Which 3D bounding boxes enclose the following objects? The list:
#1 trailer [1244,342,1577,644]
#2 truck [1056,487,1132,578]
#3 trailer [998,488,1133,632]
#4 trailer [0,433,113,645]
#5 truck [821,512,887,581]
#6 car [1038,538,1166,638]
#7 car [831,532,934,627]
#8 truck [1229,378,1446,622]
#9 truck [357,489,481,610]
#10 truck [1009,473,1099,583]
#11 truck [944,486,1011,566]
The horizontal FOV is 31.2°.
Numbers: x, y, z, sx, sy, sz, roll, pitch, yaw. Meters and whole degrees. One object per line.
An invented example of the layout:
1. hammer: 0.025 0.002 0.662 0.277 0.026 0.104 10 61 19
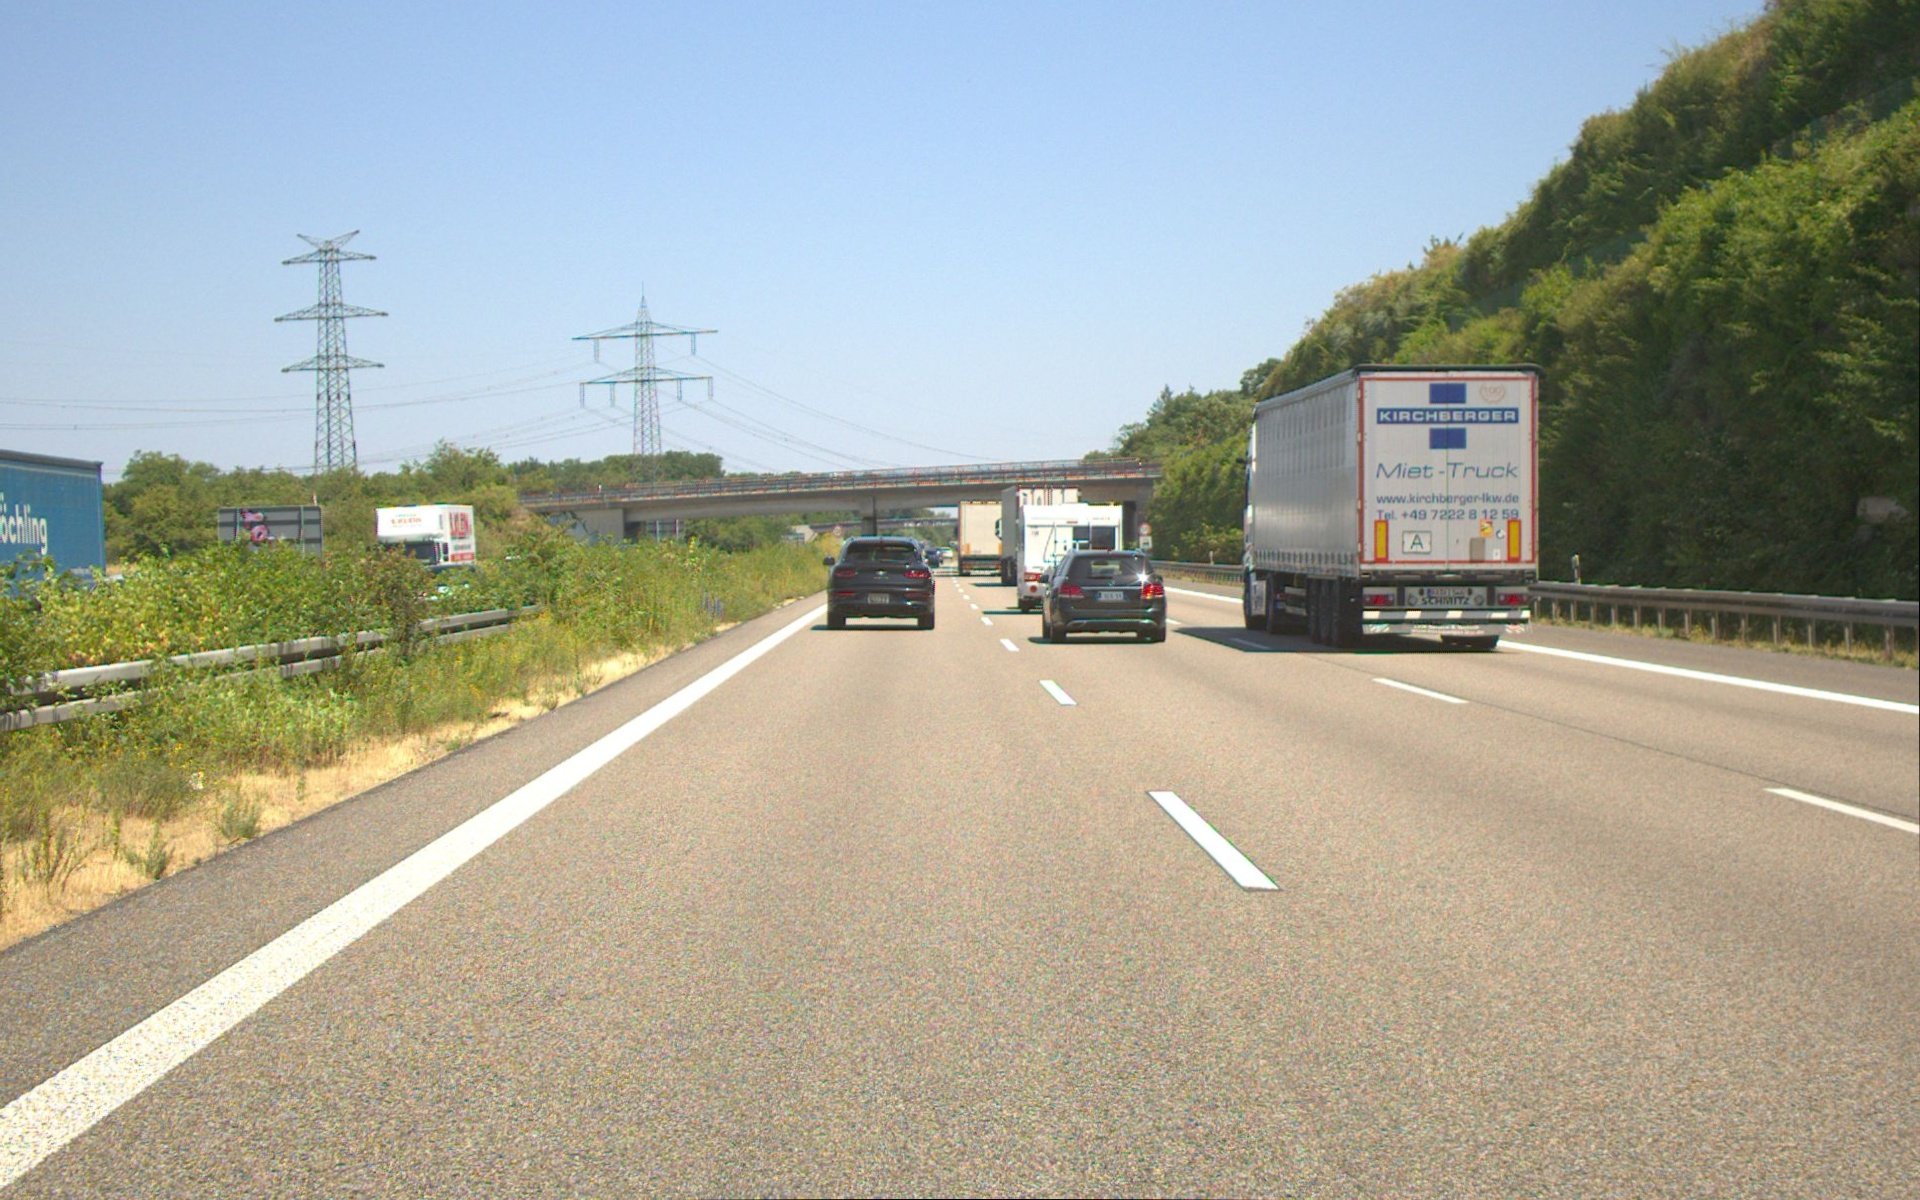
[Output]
1. trailer: 6.822 -1.613 54.499 3.183 4.107 13.432 -2 1 -1
2. truck: 6.539 -3.318 169.093 3.119 4.265 10.168 -1 1 -1
3. trailer: 2.443 -0.997 82.653 2.610 3.202 9.954 -1 1 -2
4. trailer: -19.162 -1.139 65.562 2.693 3.924 13.910 -1 1 -1
5. truck: -6.600 -3.366 214.902 3.961 4.099 9.954 -1 1 -2
6. car: 2.248 -0.225 55.423 1.830 1.520 4.000 -1 1 0
7. car: -1.453 -0.408 64.440 1.830 1.665 4.000 -1 1 -1
8. truck: 6.693 -1.762 61.781 3.135 4.127 5.504 -1 1 -1
9. truck: -19.612 -1.852 125.260 2.873 4.162 10.569 -1 1 -1
10. truck: 3.786 -2.962 141.469 3.119 4.265 11.934 -1 1 -1
11. truck: 0.925 -4.098 191.129 3.409 4.265 10.608 -1 1 -1
